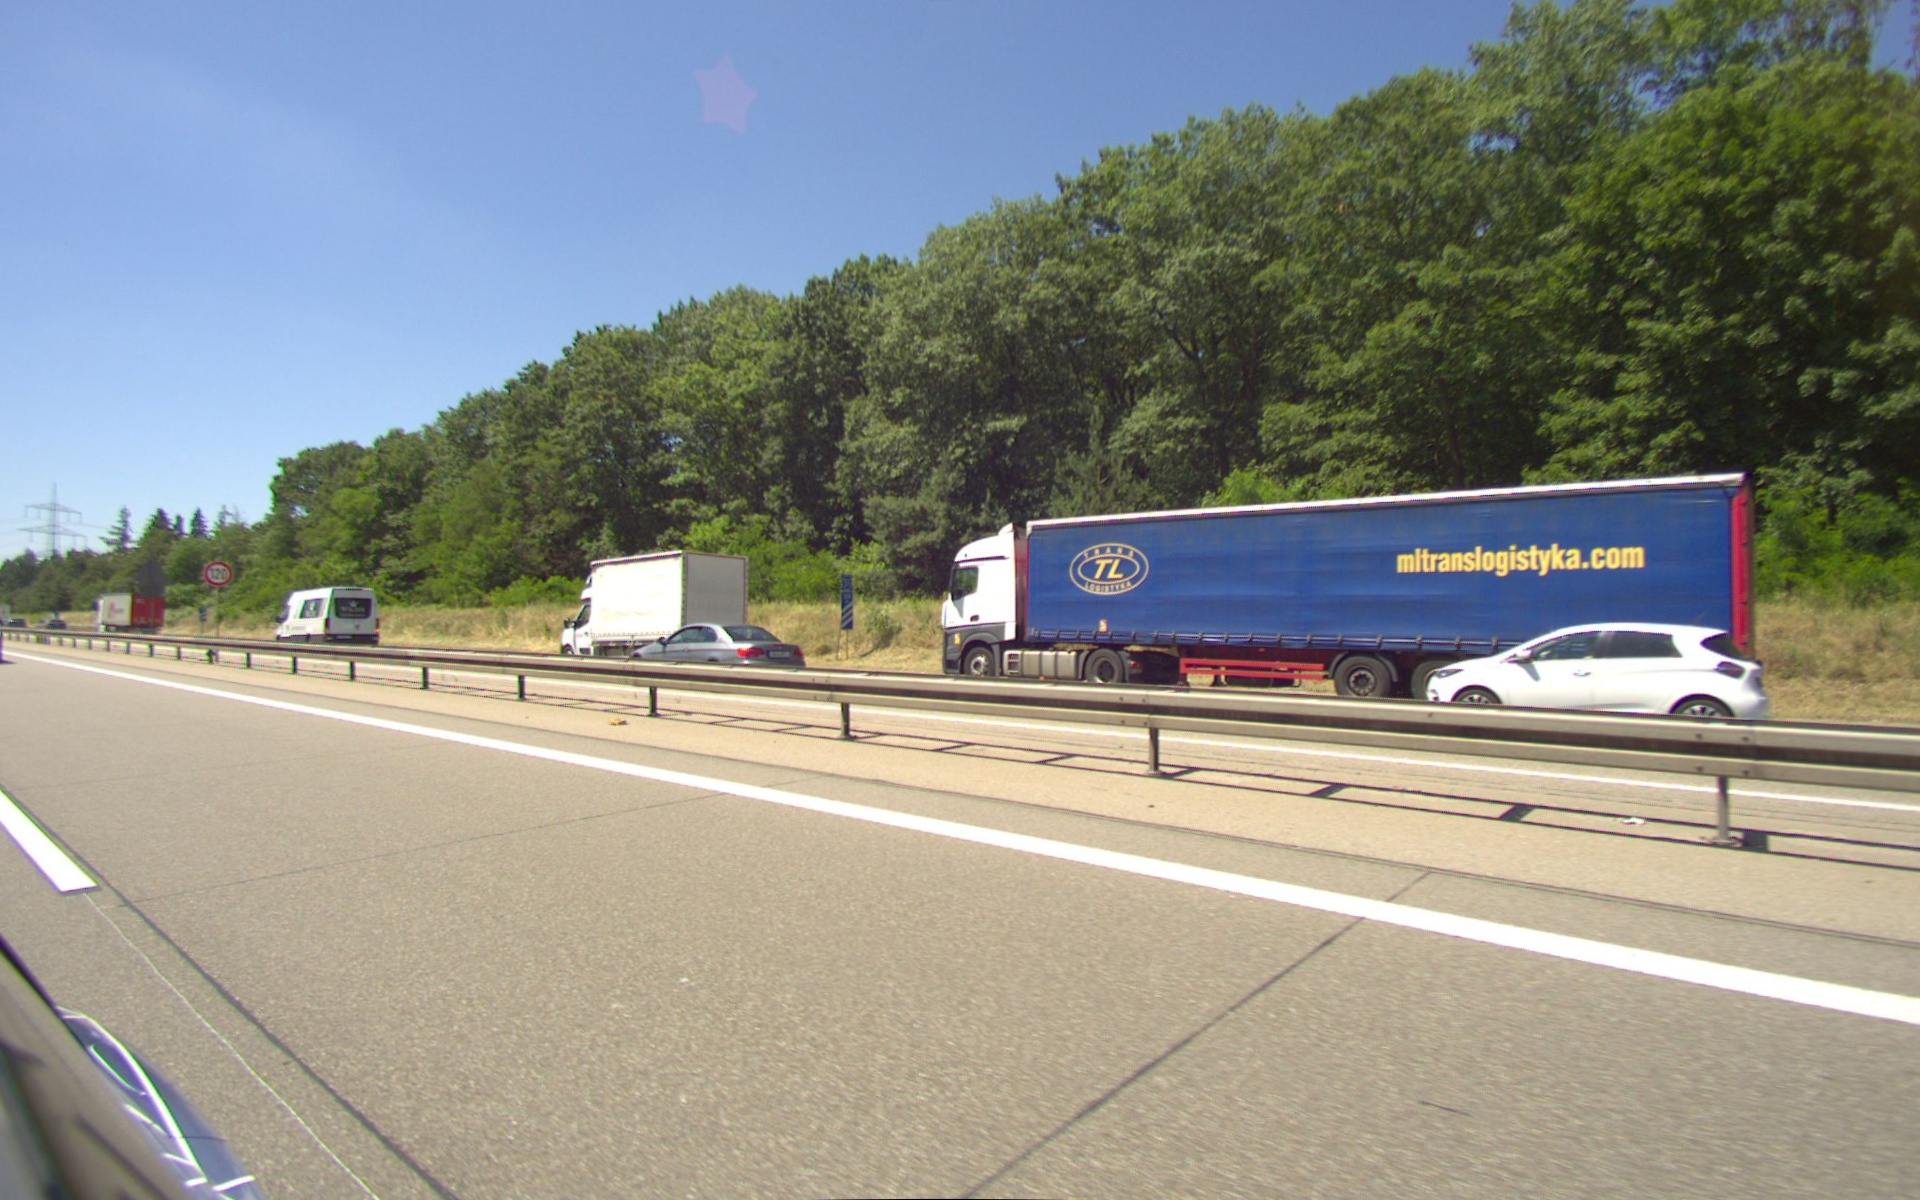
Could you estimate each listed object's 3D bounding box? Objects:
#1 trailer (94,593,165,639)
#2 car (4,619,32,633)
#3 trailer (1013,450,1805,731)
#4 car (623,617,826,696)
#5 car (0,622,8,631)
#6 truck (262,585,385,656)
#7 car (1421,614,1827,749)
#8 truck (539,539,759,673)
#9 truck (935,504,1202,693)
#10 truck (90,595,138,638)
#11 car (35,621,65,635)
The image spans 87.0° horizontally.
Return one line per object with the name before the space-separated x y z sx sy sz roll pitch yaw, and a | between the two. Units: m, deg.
trailer | -81.661 1.643 99.355 14.539 4.151 2.783 -1 -4 41
car | -116.736 3.234 125.382 4.718 1.693 1.870 -1 -4 40
trailer | 7.489 -0.002 20.232 14.361 4.045 2.479 -1 -4 42
car | -4.836 1.093 20.419 4.541 1.410 1.588 -1 -4 40
car | -156.860 4.362 165.114 3.868 1.427 1.753 -1 -4 41
truck | -26.306 0.868 41.653 8.028 2.643 2.061 -1 -4 42
car | 8.880 1.013 13.821 4.467 1.571 1.587 -1 -4 41
truck | -9.697 0.267 30.957 8.116 3.634 2.431 -1 -4 41
truck | 2.511 0.066 24.658 6.122 4.045 2.479 -1 -4 41
truck | -86.716 1.725 103.719 5.672 4.151 2.783 -1 -4 41
car | -99.876 3.082 111.023 4.580 1.445 1.869 -1 -4 41
